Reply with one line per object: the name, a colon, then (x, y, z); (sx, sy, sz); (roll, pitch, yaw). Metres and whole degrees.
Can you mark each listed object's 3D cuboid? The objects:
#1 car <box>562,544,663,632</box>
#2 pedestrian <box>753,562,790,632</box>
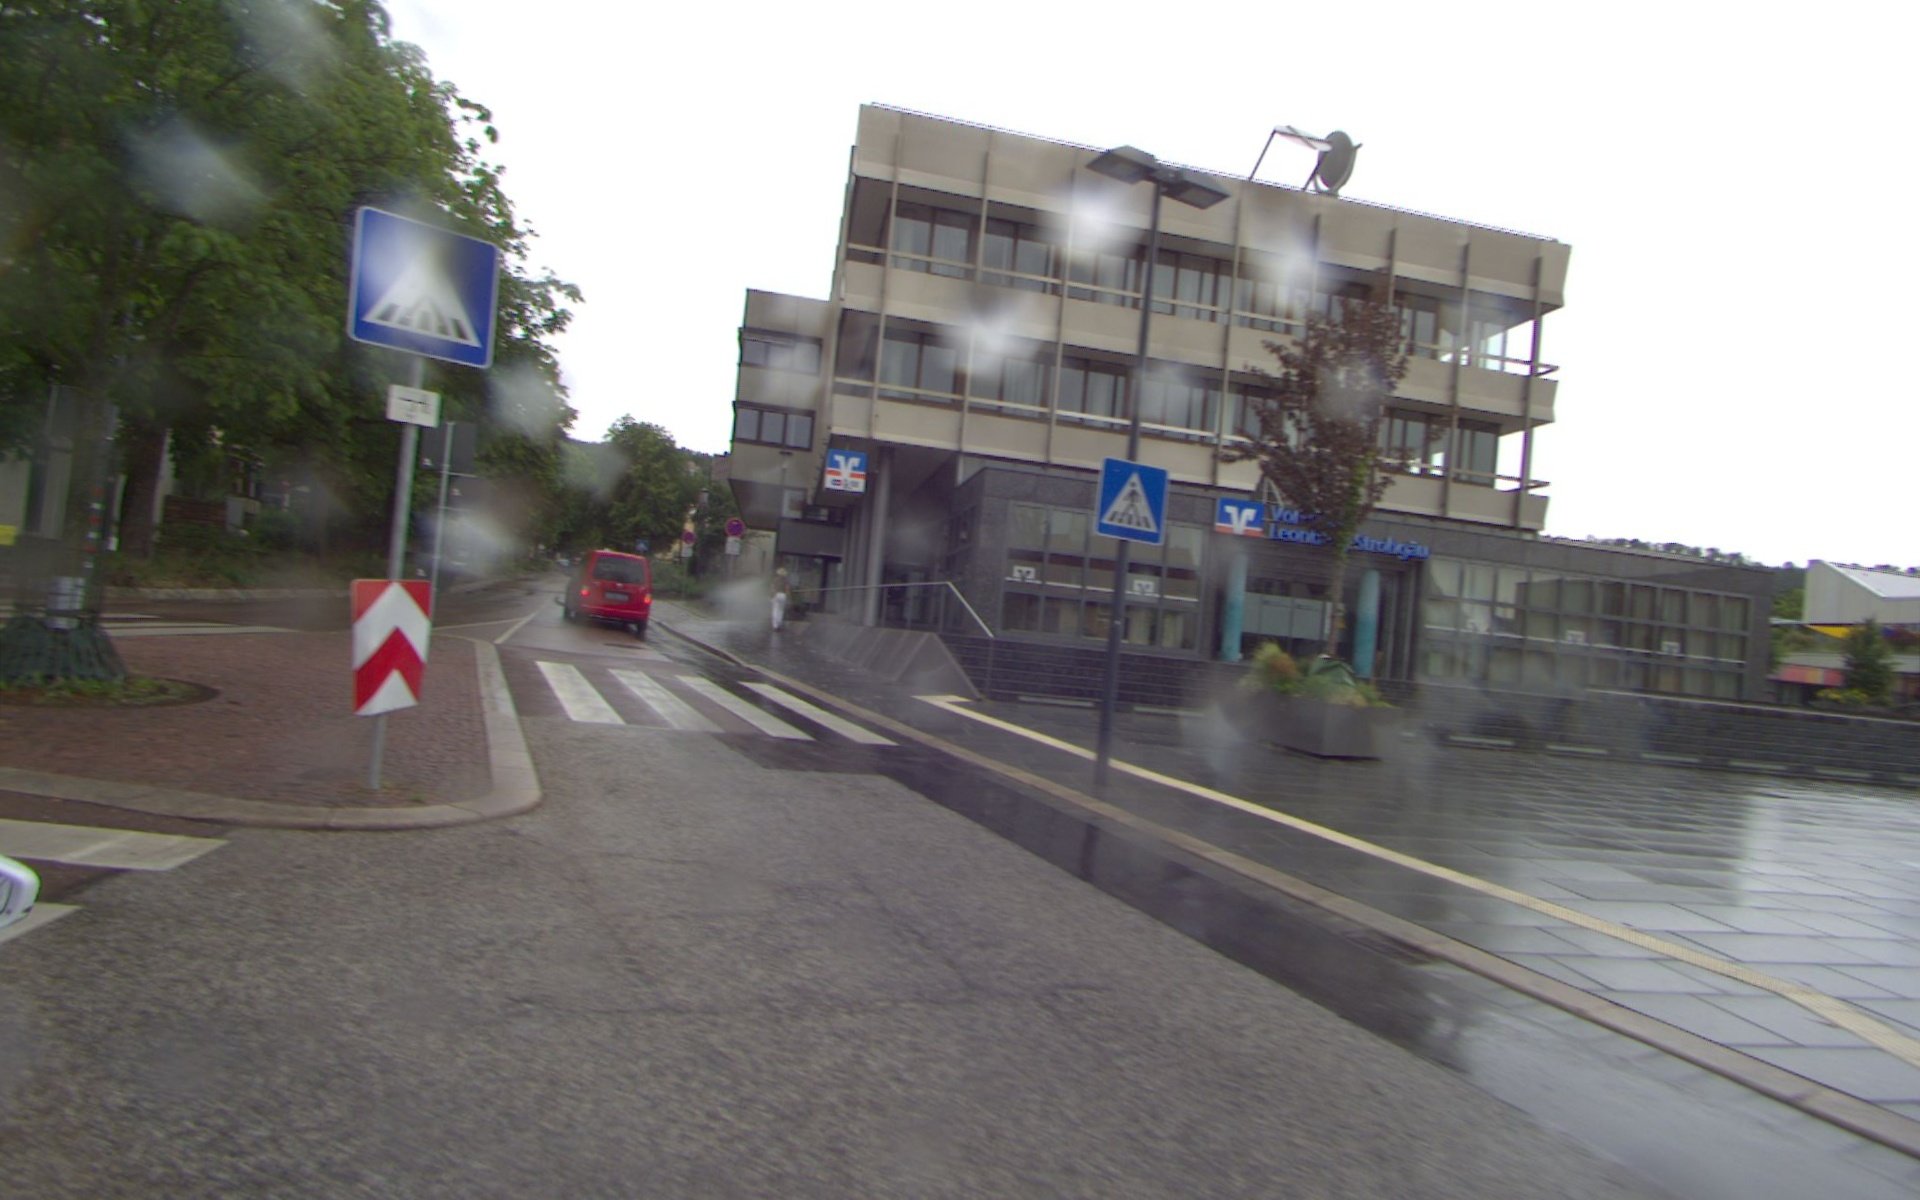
car: (-8.866, -0.329, 25.466); (1.845, 1.853, 4.160); (6, -1, -25)
pedestrian: (-5.279, -0.078, 28.273); (0.822, 1.853, 0.814); (5, 0, -8)
